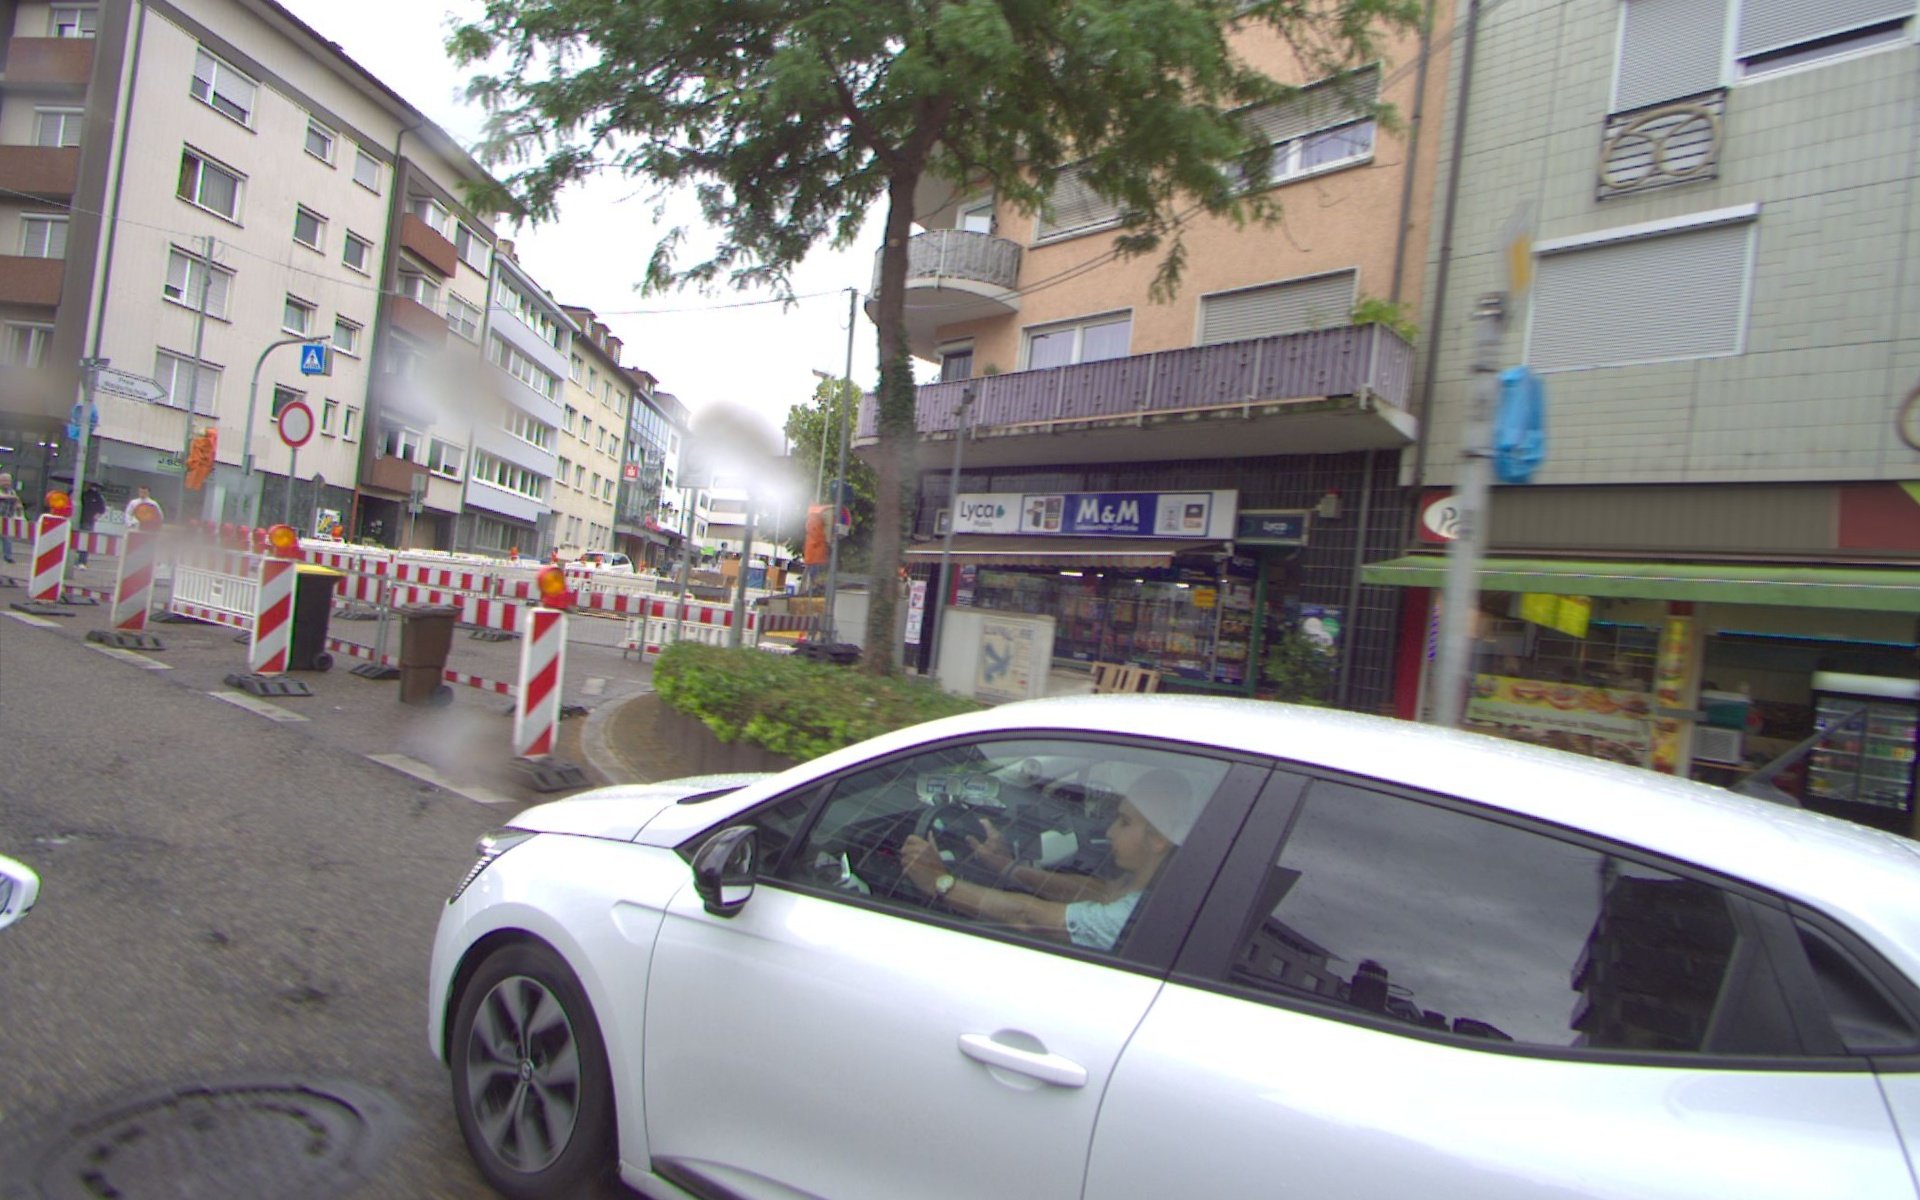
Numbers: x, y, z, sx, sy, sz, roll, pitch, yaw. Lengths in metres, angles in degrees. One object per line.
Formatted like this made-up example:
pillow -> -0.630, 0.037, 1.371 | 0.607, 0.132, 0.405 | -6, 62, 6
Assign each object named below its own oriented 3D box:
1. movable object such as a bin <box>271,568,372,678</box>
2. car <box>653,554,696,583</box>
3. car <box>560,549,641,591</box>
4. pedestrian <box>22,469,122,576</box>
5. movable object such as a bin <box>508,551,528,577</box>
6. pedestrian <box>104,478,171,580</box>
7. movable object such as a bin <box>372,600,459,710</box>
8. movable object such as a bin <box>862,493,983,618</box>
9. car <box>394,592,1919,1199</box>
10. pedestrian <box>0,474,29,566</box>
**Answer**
movable object such as a bin -> -6.585, 0.246, 10.383 | 0.522, 1.045, 0.621 | 8, 2, 29
car -> -19.646, -2.142, 69.388 | 1.893, 1.623, 3.997 | 7, 0, -3
car -> -17.449, -1.430, 49.055 | 1.962, 1.742, 4.797 | 5, 1, 2
pedestrian -> -17.104, -1.466, 19.410 | 1.014, 1.884, 0.917 | 4, 0, -12
movable object such as a bin -> -20.047, -1.627, 45.615 | 0.521, 1.059, 0.539 | 7, -2, -1
pedestrian -> -16.268, -1.374, 19.916 | 0.648, 1.903, 0.989 | 4, 0, -21
movable object such as a bin -> -5.080, 0.507, 9.392 | 0.522, 0.941, 0.420 | 8, 2, 29
movable object such as a bin -> -1.164, -1.594, 35.449 | 2.690, 3.689, 6.527 | 7, 4, 9
car -> 0.579, 0.908, 2.350 | 3.936, 1.421, 1.676 | 6, 1, 34
pedestrian -> -18.439, -1.540, 19.271 | 0.811, 1.709, 0.789 | 5, 0, 45
